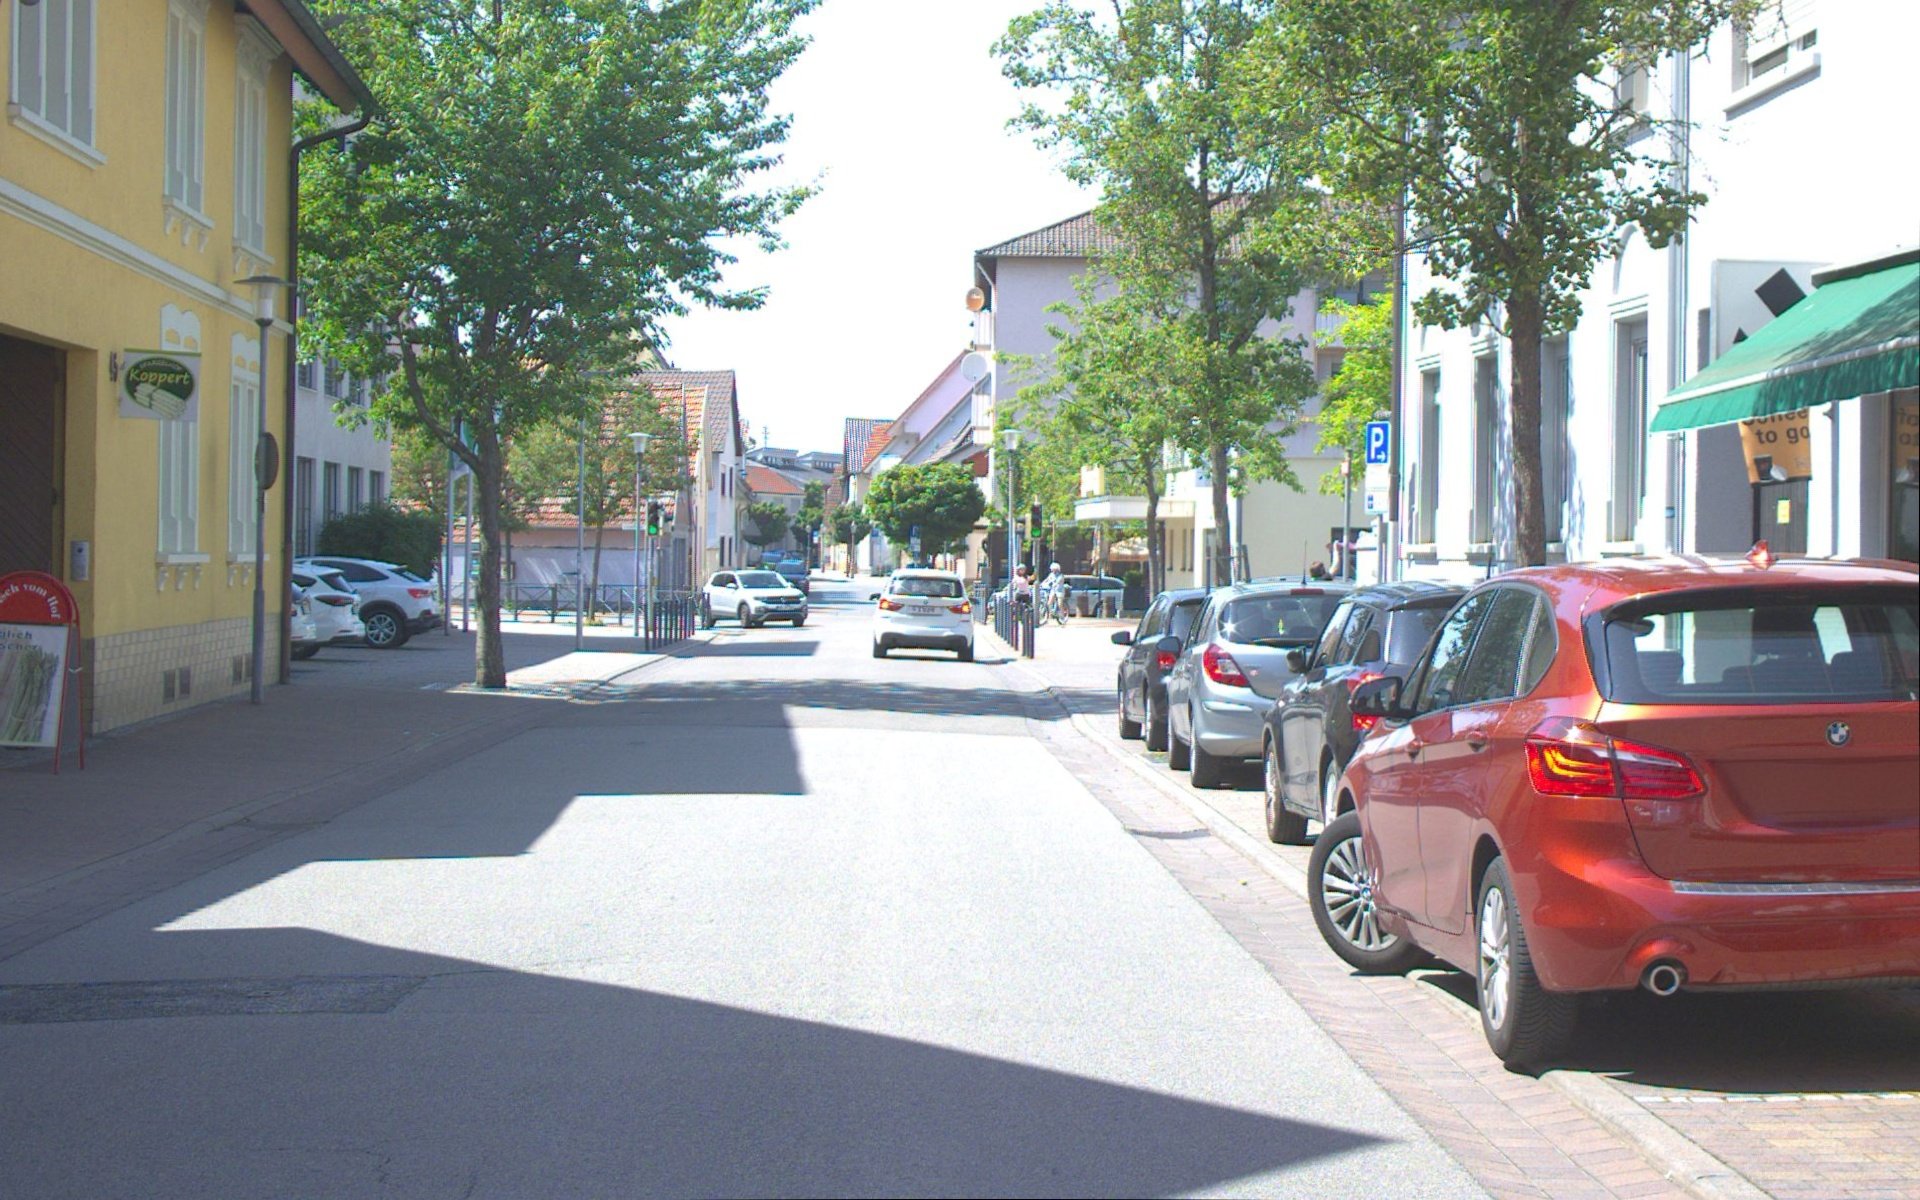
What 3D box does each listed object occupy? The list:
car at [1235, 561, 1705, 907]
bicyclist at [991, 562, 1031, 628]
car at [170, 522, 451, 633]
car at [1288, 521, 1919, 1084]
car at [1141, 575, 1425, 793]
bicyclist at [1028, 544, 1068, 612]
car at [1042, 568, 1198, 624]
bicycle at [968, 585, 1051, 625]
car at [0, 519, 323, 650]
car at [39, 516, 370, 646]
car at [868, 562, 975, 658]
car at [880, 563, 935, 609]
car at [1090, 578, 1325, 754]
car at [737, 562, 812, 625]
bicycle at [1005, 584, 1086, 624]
[{"bbox_3d":[2.593,0.625,18.347,1.737,1.508,3.736,4,1,-2],"label":"car"},{"bbox_3d":[1.245,-0.129,83.699,0.759,1.576,0.671,1,0,-17],"label":"bicyclist"},{"bbox_3d":[-11.375,-0.381,60.464,4.506,1.549,2.148,5,-1,-3],"label":"car"},{"bbox_3d":[2.381,0.562,11.826,1.829,1.583,4.089,1,1,-4],"label":"car"},{"bbox_3d":[2.369,0.572,26.086,1.717,1.476,4.096,1,1,0],"label":"car"},{"bbox_3d":[2.182,-0.539,85.405,0.759,1.658,0.671,2,-1,-22],"label":"bicyclist"},{"bbox_3d":[4.959,-0.127,106.551,4.420,1.459,1.887,3,-1,-13],"label":"car"},{"bbox_3d":[1.195,0.121,83.686,1.889,0.954,0.676,1,0,-17],"label":"bicycle"},{"bbox_3d":[-10.876,-0.199,46.958,3.986,1.446,1.808,5,0,-3],"label":"car"},{"bbox_3d":[-11.378,-0.267,52.016,4.503,1.549,1.935,4,-2,-1],"label":"car"},{"bbox_3d":[-0.697,0.149,62.167,1.834,1.646,4.000,1,1,-1],"label":"car"},{"bbox_3d":[-1.864,-0.483,123.816,1.805,1.496,4.000,3,0,1],"label":"car"},{"bbox_3d":[2.219,0.556,31.704,1.703,1.476,3.922,1,1,-2],"label":"car"},{"bbox_3d":[-5.050,-0.169,94.162,1.851,1.568,4.000,3,-1,-1],"label":"car"},{"bbox_3d":[2.122,0.108,85.382,1.889,0.954,0.676,1,-1,-21],"label":"bicycle"}]
